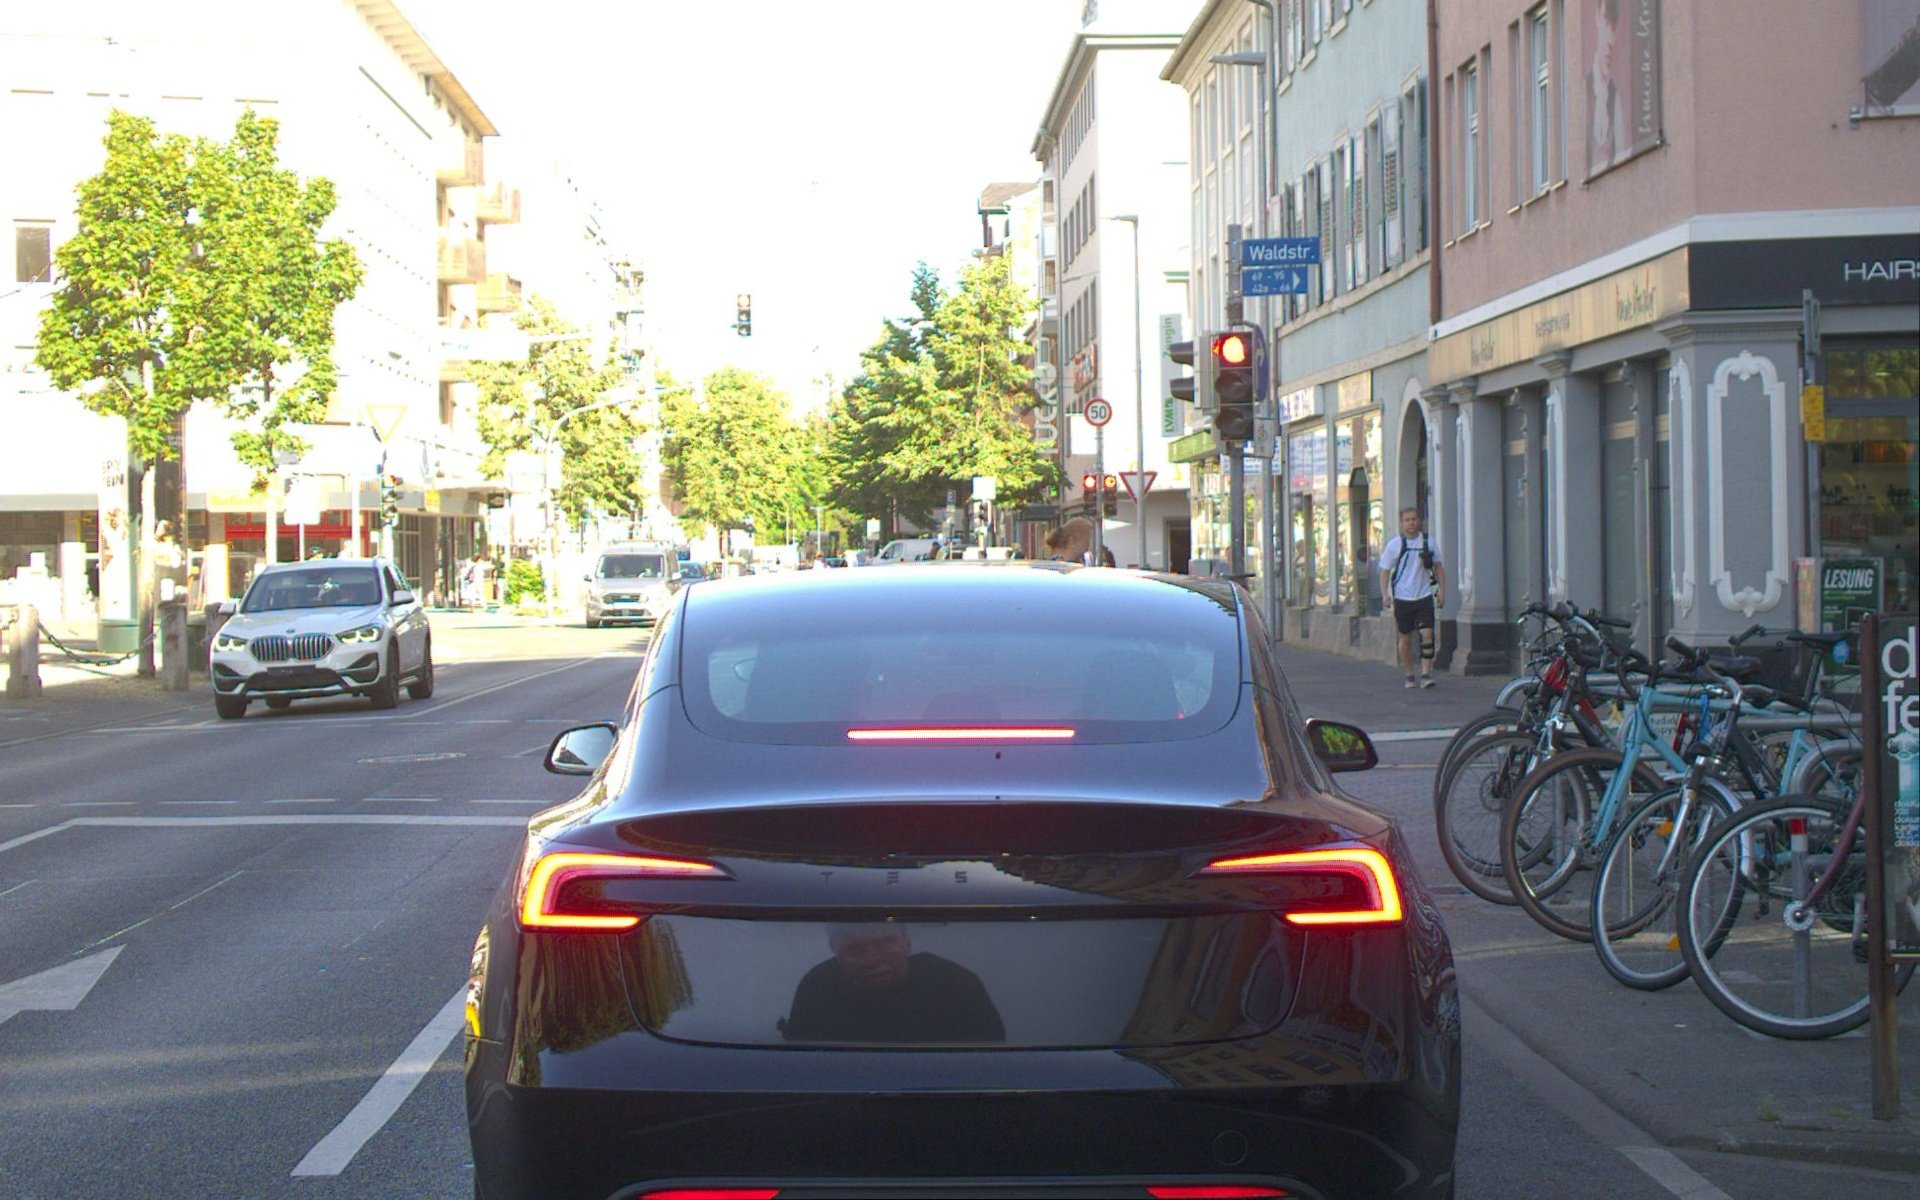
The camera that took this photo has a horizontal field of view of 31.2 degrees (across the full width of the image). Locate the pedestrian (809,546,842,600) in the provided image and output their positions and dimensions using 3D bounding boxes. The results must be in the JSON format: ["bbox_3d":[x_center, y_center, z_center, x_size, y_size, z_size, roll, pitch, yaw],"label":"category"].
[{"bbox_3d":[-4.179,-0.846,106.766,0.715,1.689,0.851,0,1,-28],"label":"pedestrian"}]

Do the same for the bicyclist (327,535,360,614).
[{"bbox_3d":[-11.851,-0.486,66.063,0.522,1.498,0.476,1,0,-24],"label":"bicyclist"}]

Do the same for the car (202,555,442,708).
[{"bbox_3d":[-6.655,0.292,36.217,1.789,1.455,3.757,-2,1,0],"label":"car"}]

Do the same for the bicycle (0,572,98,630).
[{"bbox_3d":[-20.807,0.021,77.990,2.361,1.291,0.513,1,0,-26],"label":"bicycle"}]

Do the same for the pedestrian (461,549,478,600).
[{"bbox_3d":[-14.034,-0.726,98.395,0.459,1.455,0.518,0,1,-5],"label":"pedestrian"}]

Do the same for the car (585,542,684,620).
[{"bbox_3d":[-7.016,-0.429,74.482,1.787,1.640,4.403,0,1,-1],"label":"car"}]

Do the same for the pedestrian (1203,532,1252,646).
[{"bbox_3d":[4.108,-0.168,52.831,0.706,1.736,0.540,0,1,-1],"label":"pedestrian"}]

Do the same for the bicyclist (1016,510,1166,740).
[{"bbox_3d":[0.865,0.157,22.526,0.891,1.477,0.701,0,0,10],"label":"bicyclist"}]

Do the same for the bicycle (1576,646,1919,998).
[{"bbox_3d":[2.991,0.702,11.171,1.873,1.084,0.414,-2,0,4],"label":"bicycle"}]

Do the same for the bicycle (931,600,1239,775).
[{"bbox_3d":[0.829,0.558,22.538,1.935,1.114,0.708,0,0,10],"label":"bicycle"}]

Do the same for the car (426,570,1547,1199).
[{"bbox_3d":[0.020,0.657,7.593,1.822,1.437,4.000,0,1,-1],"label":"car"}]

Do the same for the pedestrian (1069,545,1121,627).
[{"bbox_3d":[2.720,-0.285,69.259,0.754,1.626,0.956,1,0,-18],"label":"pedestrian"}]

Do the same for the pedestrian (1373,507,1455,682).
[{"bbox_3d":[4.624,-0.059,35.052,0.750,1.759,0.836,-1,0,4],"label":"pedestrian"}]

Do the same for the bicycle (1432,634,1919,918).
[{"bbox_3d":[2.838,0.688,13.572,1.873,1.034,0.547,-2,0,5],"label":"bicycle"}]

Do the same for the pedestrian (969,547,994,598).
[{"bbox_3d":[0.606,-0.765,95.785,0.472,1.412,0.522,1,0,-31],"label":"pedestrian"}]

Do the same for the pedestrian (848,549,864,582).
[{"bbox_3d":[-6.266,-2.079,207.283,0.930,2.007,0.938,1,0,-1],"label":"pedestrian"}]

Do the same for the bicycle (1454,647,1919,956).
[{"bbox_3d":[2.774,0.720,12.479,1.873,1.034,0.533,-2,0,4],"label":"bicycle"}]

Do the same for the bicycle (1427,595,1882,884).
[{"bbox_3d":[2.960,0.592,14.764,1.828,1.165,0.505,-2,0,5],"label":"bicycle"}]

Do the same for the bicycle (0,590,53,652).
[{"bbox_3d":[-14.811,0.319,52.278,1.864,0.931,0.606,0,1,-1],"label":"bicycle"}]

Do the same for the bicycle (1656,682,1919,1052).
[{"bbox_3d":[3.009,0.755,9.998,1.873,1.034,0.353,-2,0,6],"label":"bicycle"}]

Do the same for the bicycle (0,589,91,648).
[{"bbox_3d":[-14.839,0.294,54.726,1.864,0.931,0.606,0,1,-1],"label":"bicycle"}]

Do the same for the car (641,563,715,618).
[{"bbox_3d":[-7.583,-0.271,92.797,1.715,1.441,3.845,1,1,-1],"label":"car"}]

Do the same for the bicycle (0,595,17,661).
[{"bbox_3d":[-14.698,0.393,49.877,1.864,0.931,0.606,1,0,-1],"label":"bicycle"}]

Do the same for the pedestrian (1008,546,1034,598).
[{"bbox_3d":[1.701,-0.782,95.815,0.521,1.417,0.479,1,0,-30],"label":"pedestrian"}]

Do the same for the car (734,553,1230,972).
[{"bbox_3d":[0.010,0.535,13.779,1.718,1.420,3.758,0,1,-2],"label":"car"}]

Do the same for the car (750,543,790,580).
[{"bbox_3d":[-10.353,-2.097,187.105,1.993,2.007,4.000,1,1,-1],"label":"car"}]
